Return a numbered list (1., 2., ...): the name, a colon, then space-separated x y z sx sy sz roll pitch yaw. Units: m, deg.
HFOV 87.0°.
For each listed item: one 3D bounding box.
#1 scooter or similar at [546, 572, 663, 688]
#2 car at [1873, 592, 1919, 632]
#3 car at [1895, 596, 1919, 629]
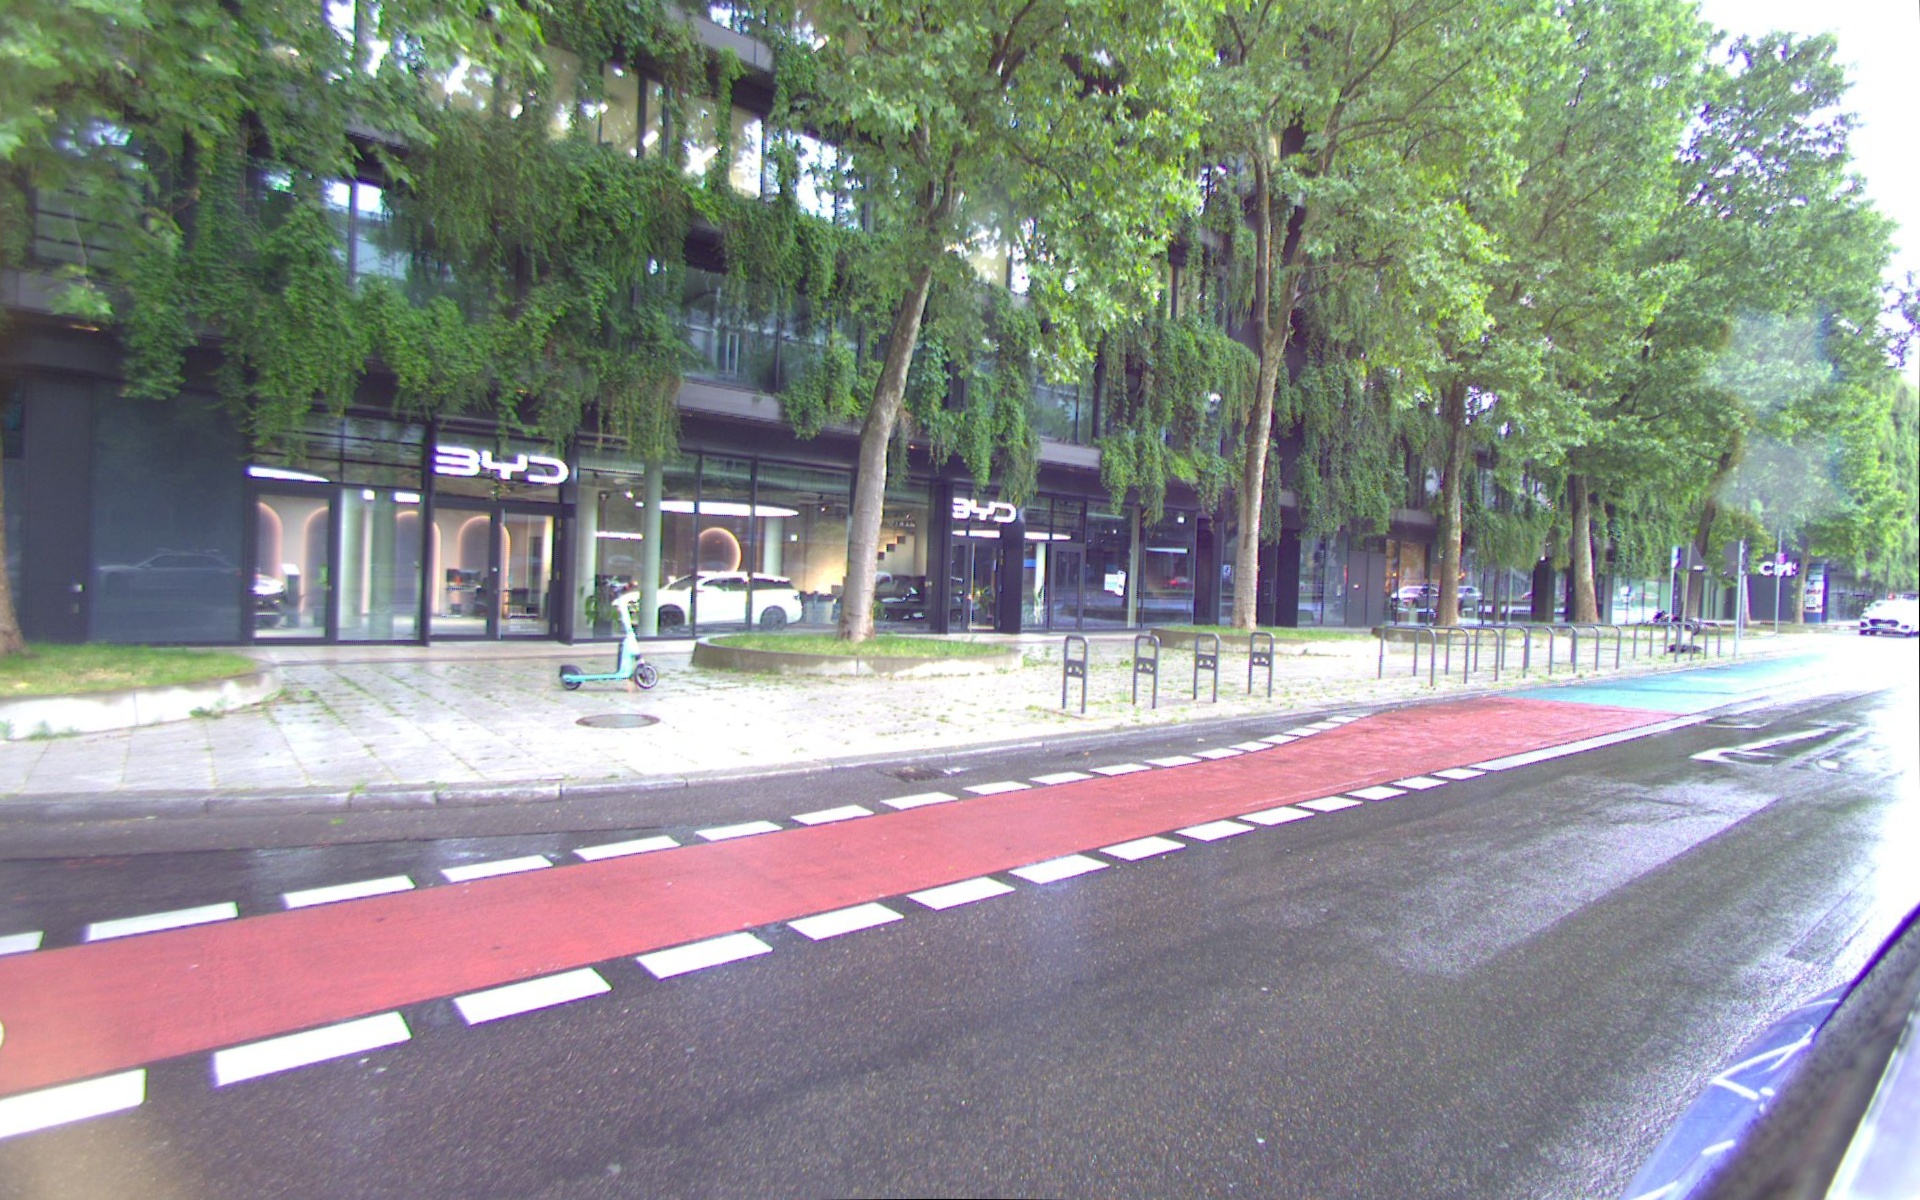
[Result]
1. scooter or similar: -4.076 0.331 11.629 1.165 1.298 0.535 0 0 10
2. car: 44.617 0.526 47.645 4.519 1.757 1.931 -1 1 -41
3. car: 49.267 0.615 51.389 4.503 1.581 2.035 -1 1 -39
